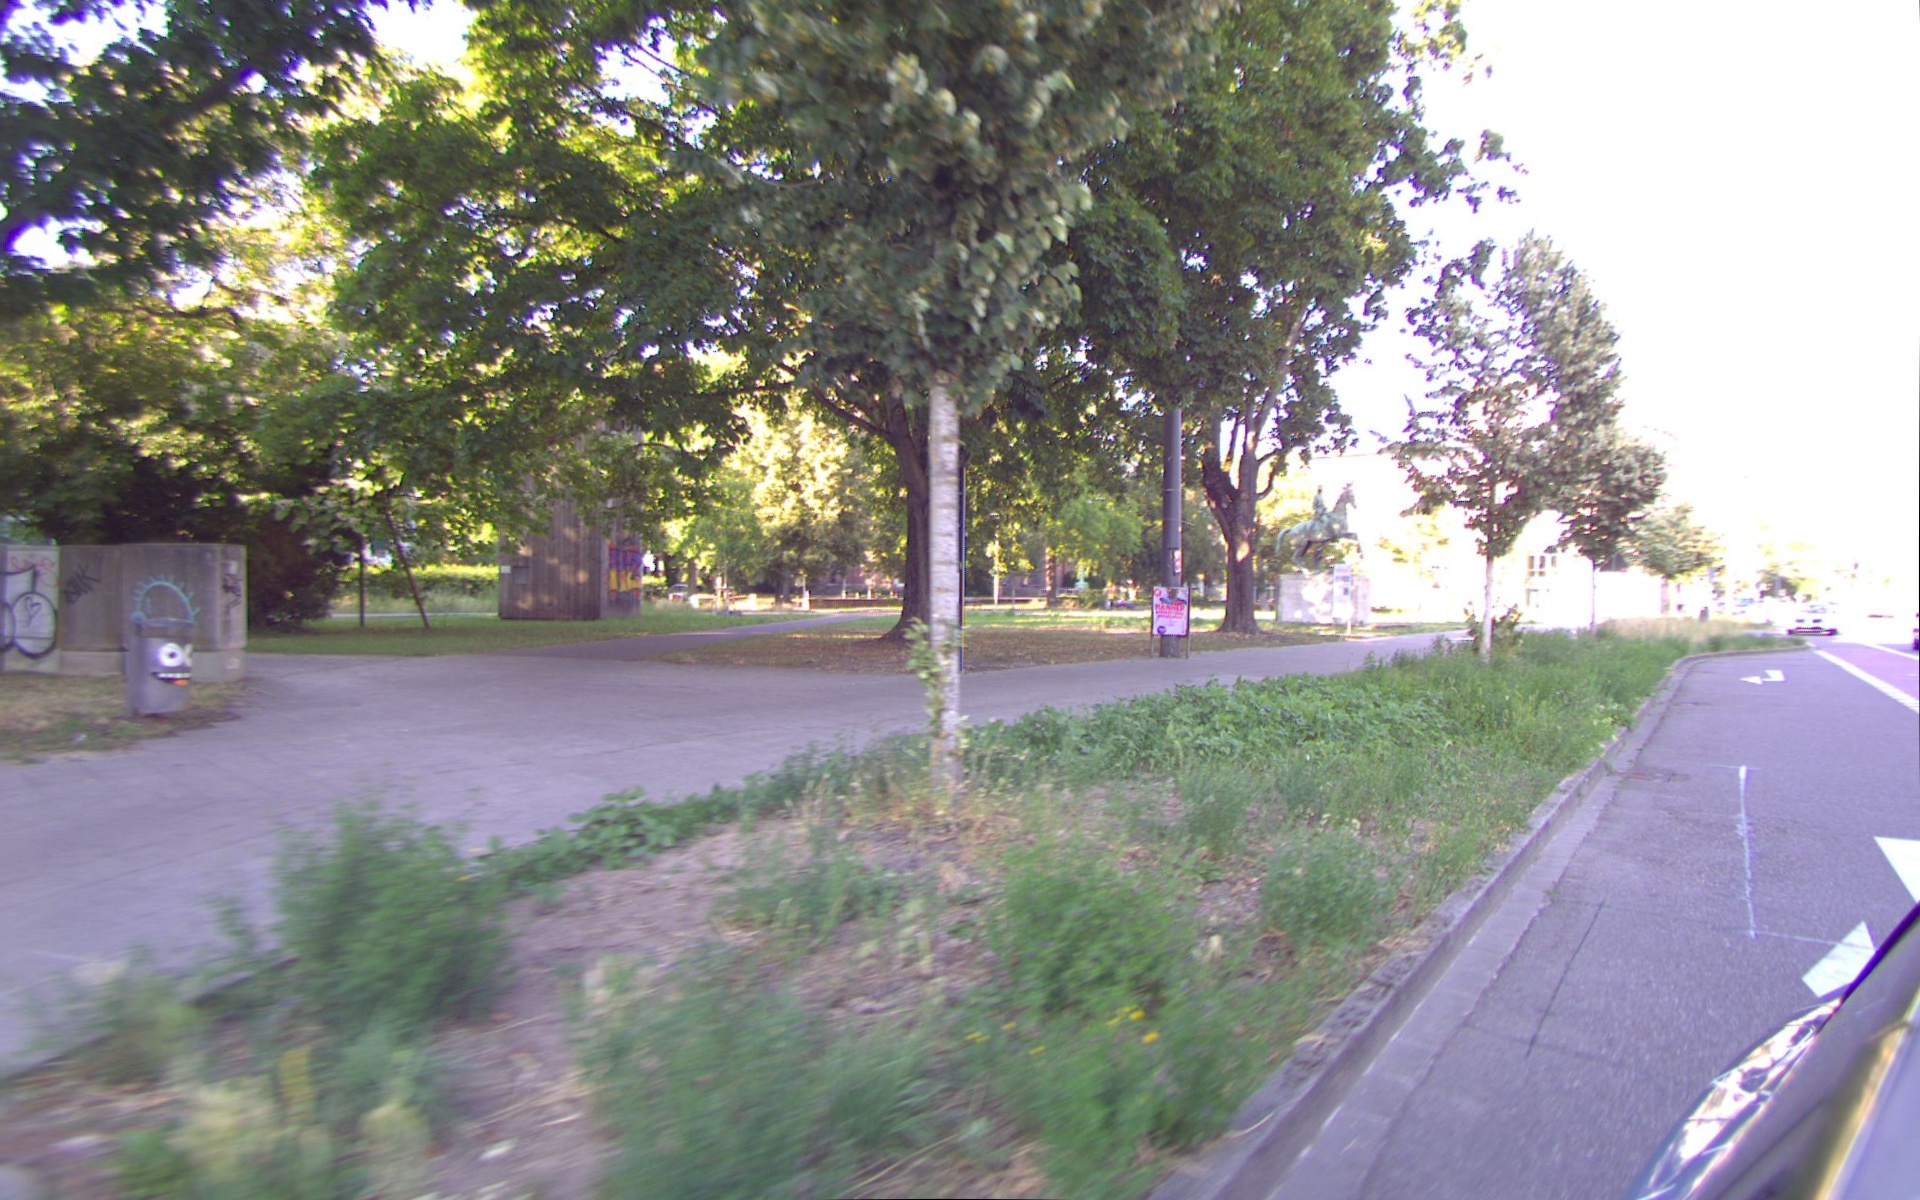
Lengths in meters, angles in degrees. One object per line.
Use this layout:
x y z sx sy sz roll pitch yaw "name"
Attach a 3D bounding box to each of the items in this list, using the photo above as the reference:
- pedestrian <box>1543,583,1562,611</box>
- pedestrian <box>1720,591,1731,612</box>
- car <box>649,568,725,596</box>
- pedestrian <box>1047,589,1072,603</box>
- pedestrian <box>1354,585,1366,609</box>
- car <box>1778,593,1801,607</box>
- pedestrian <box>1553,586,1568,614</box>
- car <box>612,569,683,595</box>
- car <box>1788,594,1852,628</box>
36.864 -0.163 62.992 0.739 1.670 0.901 4 2 43 "pedestrian"
63.062 0.105 83.402 0.649 1.746 0.704 1 0 41 "pedestrian"
-17.518 -1.130 65.119 1.985 1.739 4.585 2 1 32 "car"
7.503 -0.325 76.198 1.261 1.007 1.382 1 0 -40 "pedestrian"
29.723 -0.232 75.239 0.631 1.761 0.595 1 0 6 "pedestrian"
91.042 -0.015 111.090 1.761 1.491 3.959 -1 0 38 "car"
37.677 0.019 63.534 0.597 1.710 0.769 3 1 43 "pedestrian"
-20.504 -1.168 66.510 1.861 1.650 4.102 1 1 37 "car"
41.893 0.504 49.384 1.822 1.557 4.227 -2 -1 34 "car"
